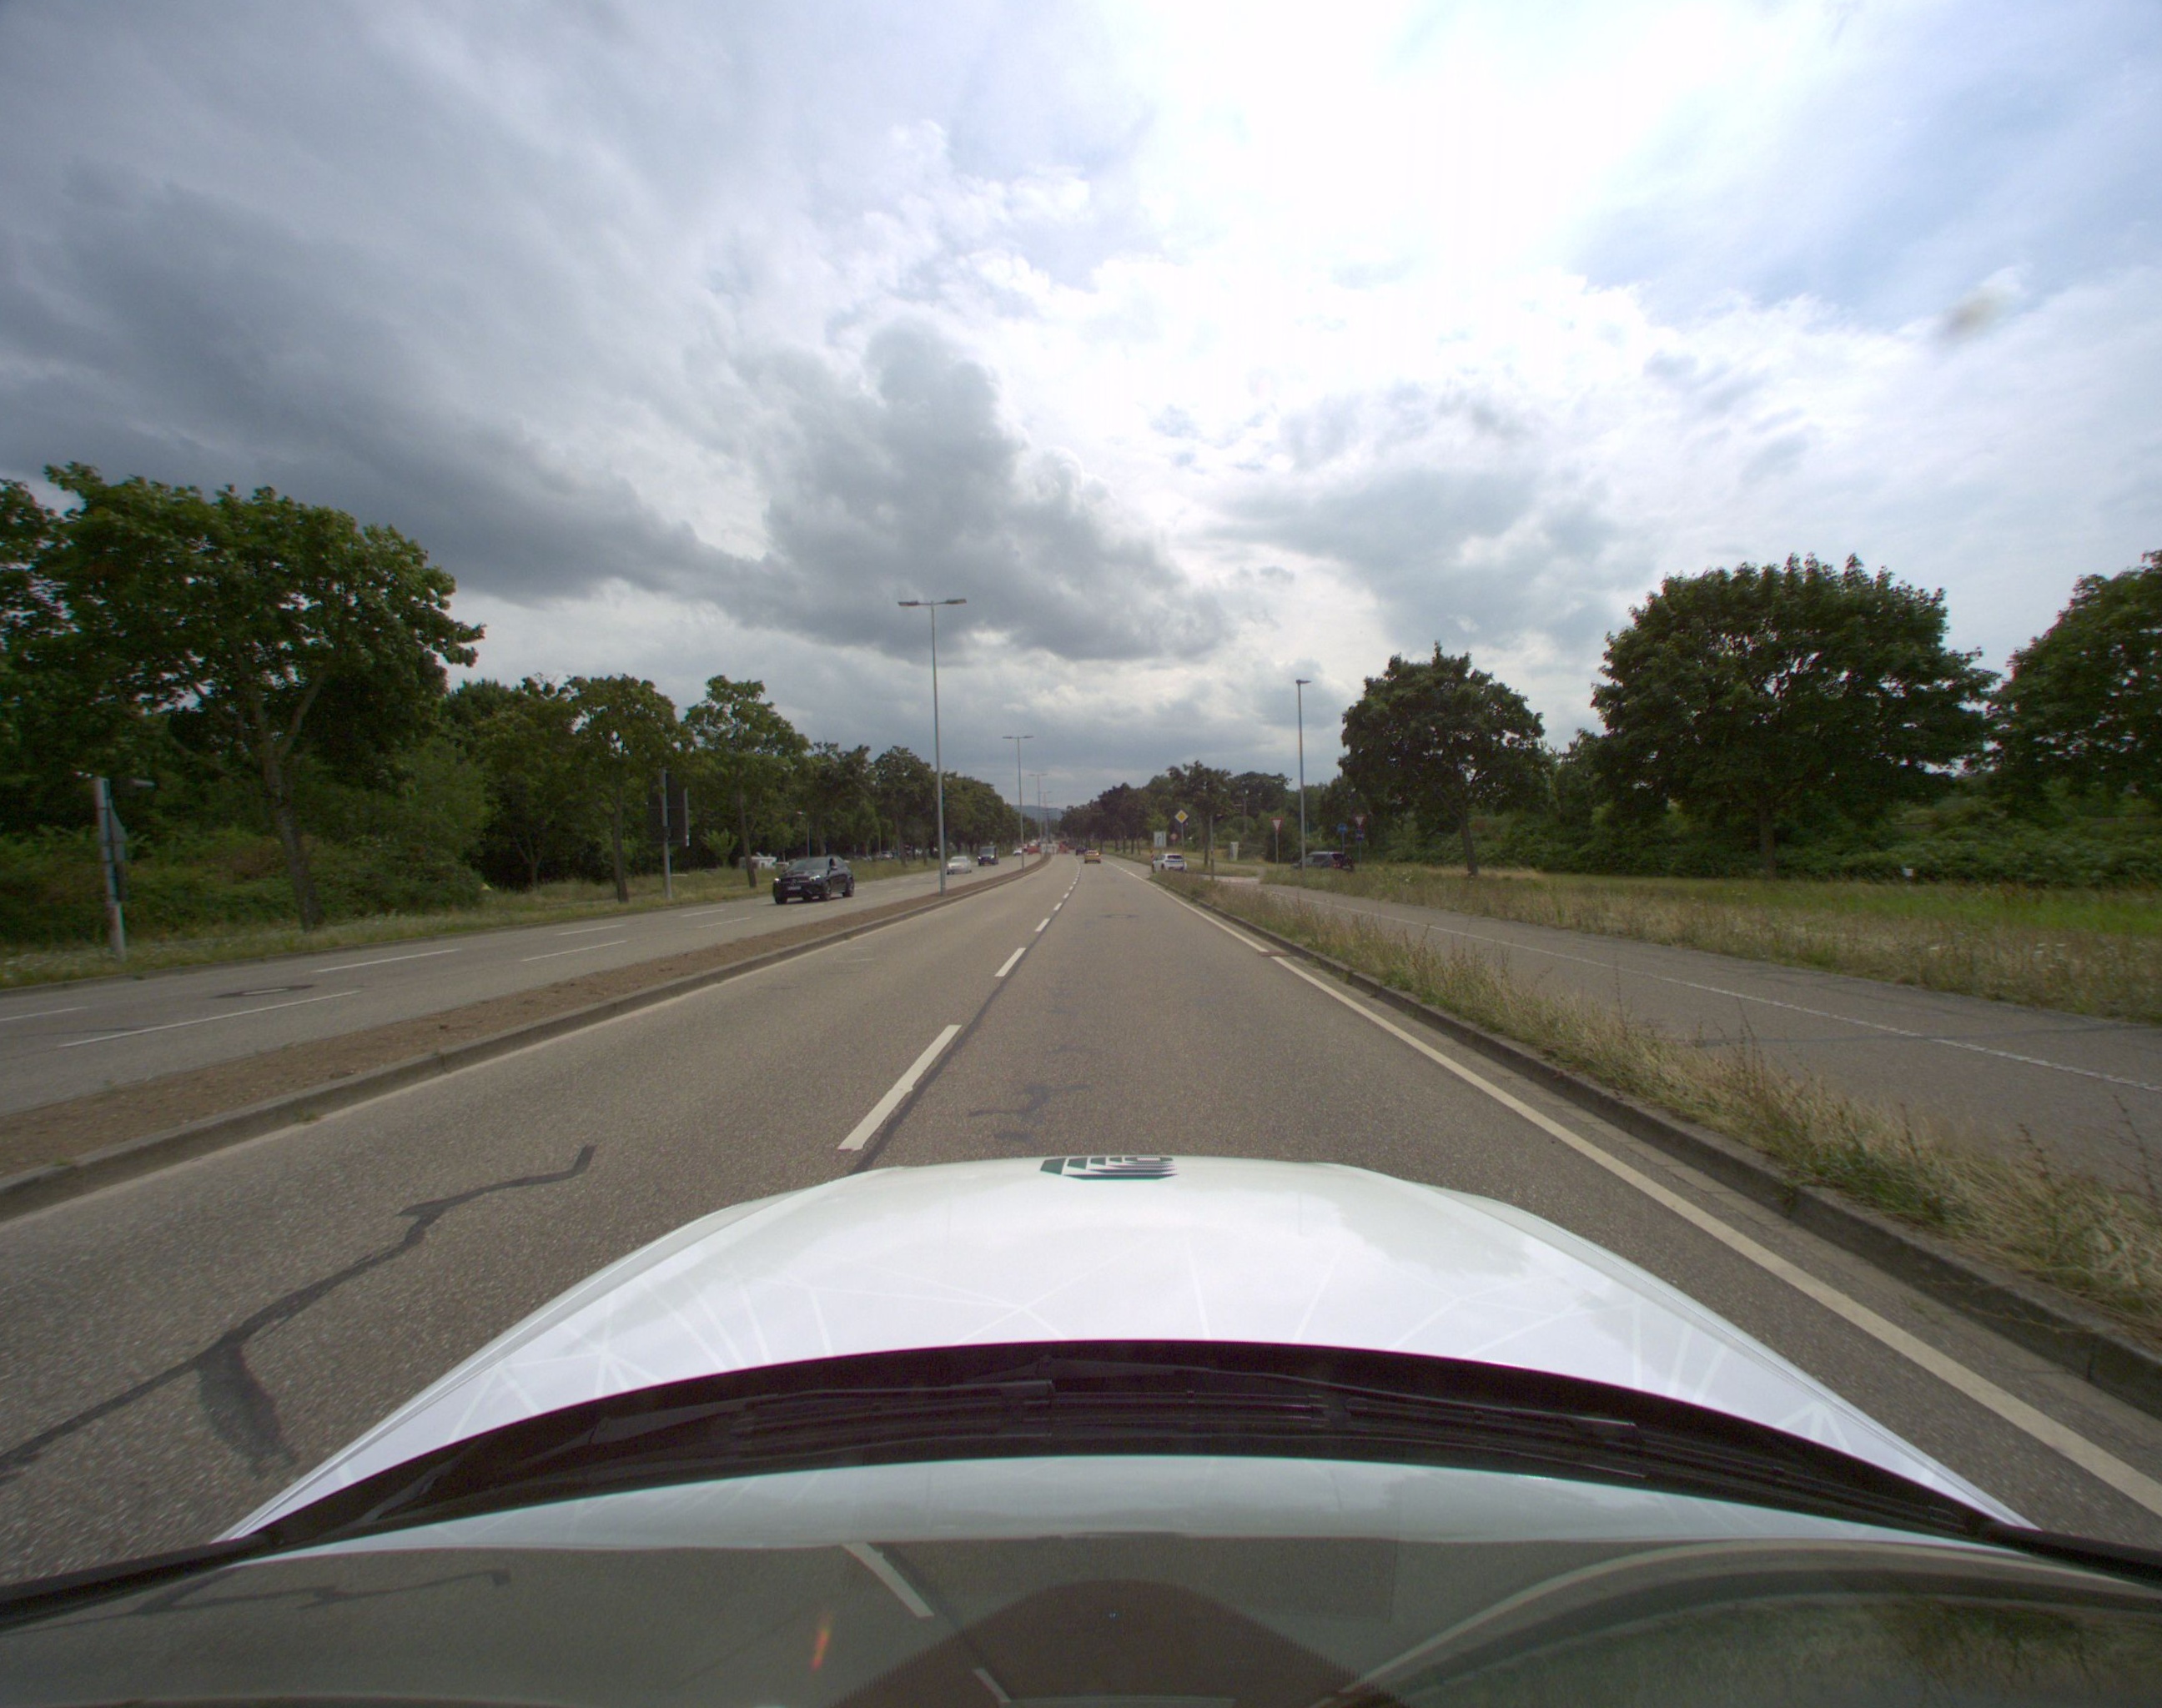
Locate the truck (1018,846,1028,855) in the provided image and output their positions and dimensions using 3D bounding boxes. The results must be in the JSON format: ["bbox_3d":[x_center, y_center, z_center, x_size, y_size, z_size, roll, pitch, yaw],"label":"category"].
[{"bbox_3d":[-13.960,-0.809,196.653,2.082,1.994,6.038,-3,1,-1],"label":"truck"}]

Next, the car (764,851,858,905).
[{"bbox_3d":[-10.519,0.867,32.149,1.987,1.811,4.798,-2,1,0],"label":"car"}]

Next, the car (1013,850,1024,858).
[{"bbox_3d":[-12.182,0.054,158.040,1.711,1.420,4.160,-3,1,0],"label":"car"}]

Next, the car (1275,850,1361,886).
[{"bbox_3d":[11.816,0.644,40.832,1.716,1.668,3.957,-1,1,-35],"label":"car"}]

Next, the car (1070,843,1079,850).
[{"bbox_3d":[-1.640,-2.060,216.394,2.198,1.683,4.001,-1,1,1],"label":"car"}]

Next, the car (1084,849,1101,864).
[{"bbox_3d":[1.296,0.236,93.000,1.788,1.561,4.000,-2,1,0],"label":"car"}]

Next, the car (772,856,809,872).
[{"bbox_3d":[-36.989,1.294,103.695,3.976,1.887,1.938,-2,1,-2],"label":"car"}]

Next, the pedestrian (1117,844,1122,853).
[{"bbox_3d":[7.506,-1.113,159.305,0.689,1.695,0.932,-2,1,-6],"label":"pedestrian"}]

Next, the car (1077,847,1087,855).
[{"bbox_3d":[0.170,-0.504,142.398,1.662,1.269,4.000,-2,1,0],"label":"car"}]

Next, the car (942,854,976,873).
[{"bbox_3d":[-10.338,0.776,69.176,1.986,1.430,4.690,-3,1,2],"label":"car"}]

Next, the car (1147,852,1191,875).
[{"bbox_3d":[6.315,0.643,58.918,1.770,1.464,3.980,-2,1,-15],"label":"car"}]

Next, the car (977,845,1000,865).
[{"bbox_3d":[-11.098,0.080,98.289,2.089,2.200,6.003,-3,1,0],"label":"car"}]

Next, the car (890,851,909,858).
[{"bbox_3d":[-40.253,0.169,180.497,3.760,1.425,1.966,-2,1,0],"label":"car"}]

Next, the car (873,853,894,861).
[{"bbox_3d":[-39.641,0.572,163.296,3.637,1.519,1.883,-2,1,0],"label":"car"}]

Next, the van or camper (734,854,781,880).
[{"bbox_3d":[-35.503,1.356,89.672,2.464,2.540,6.719,-2,1,0],"label":"van or camper"}]
